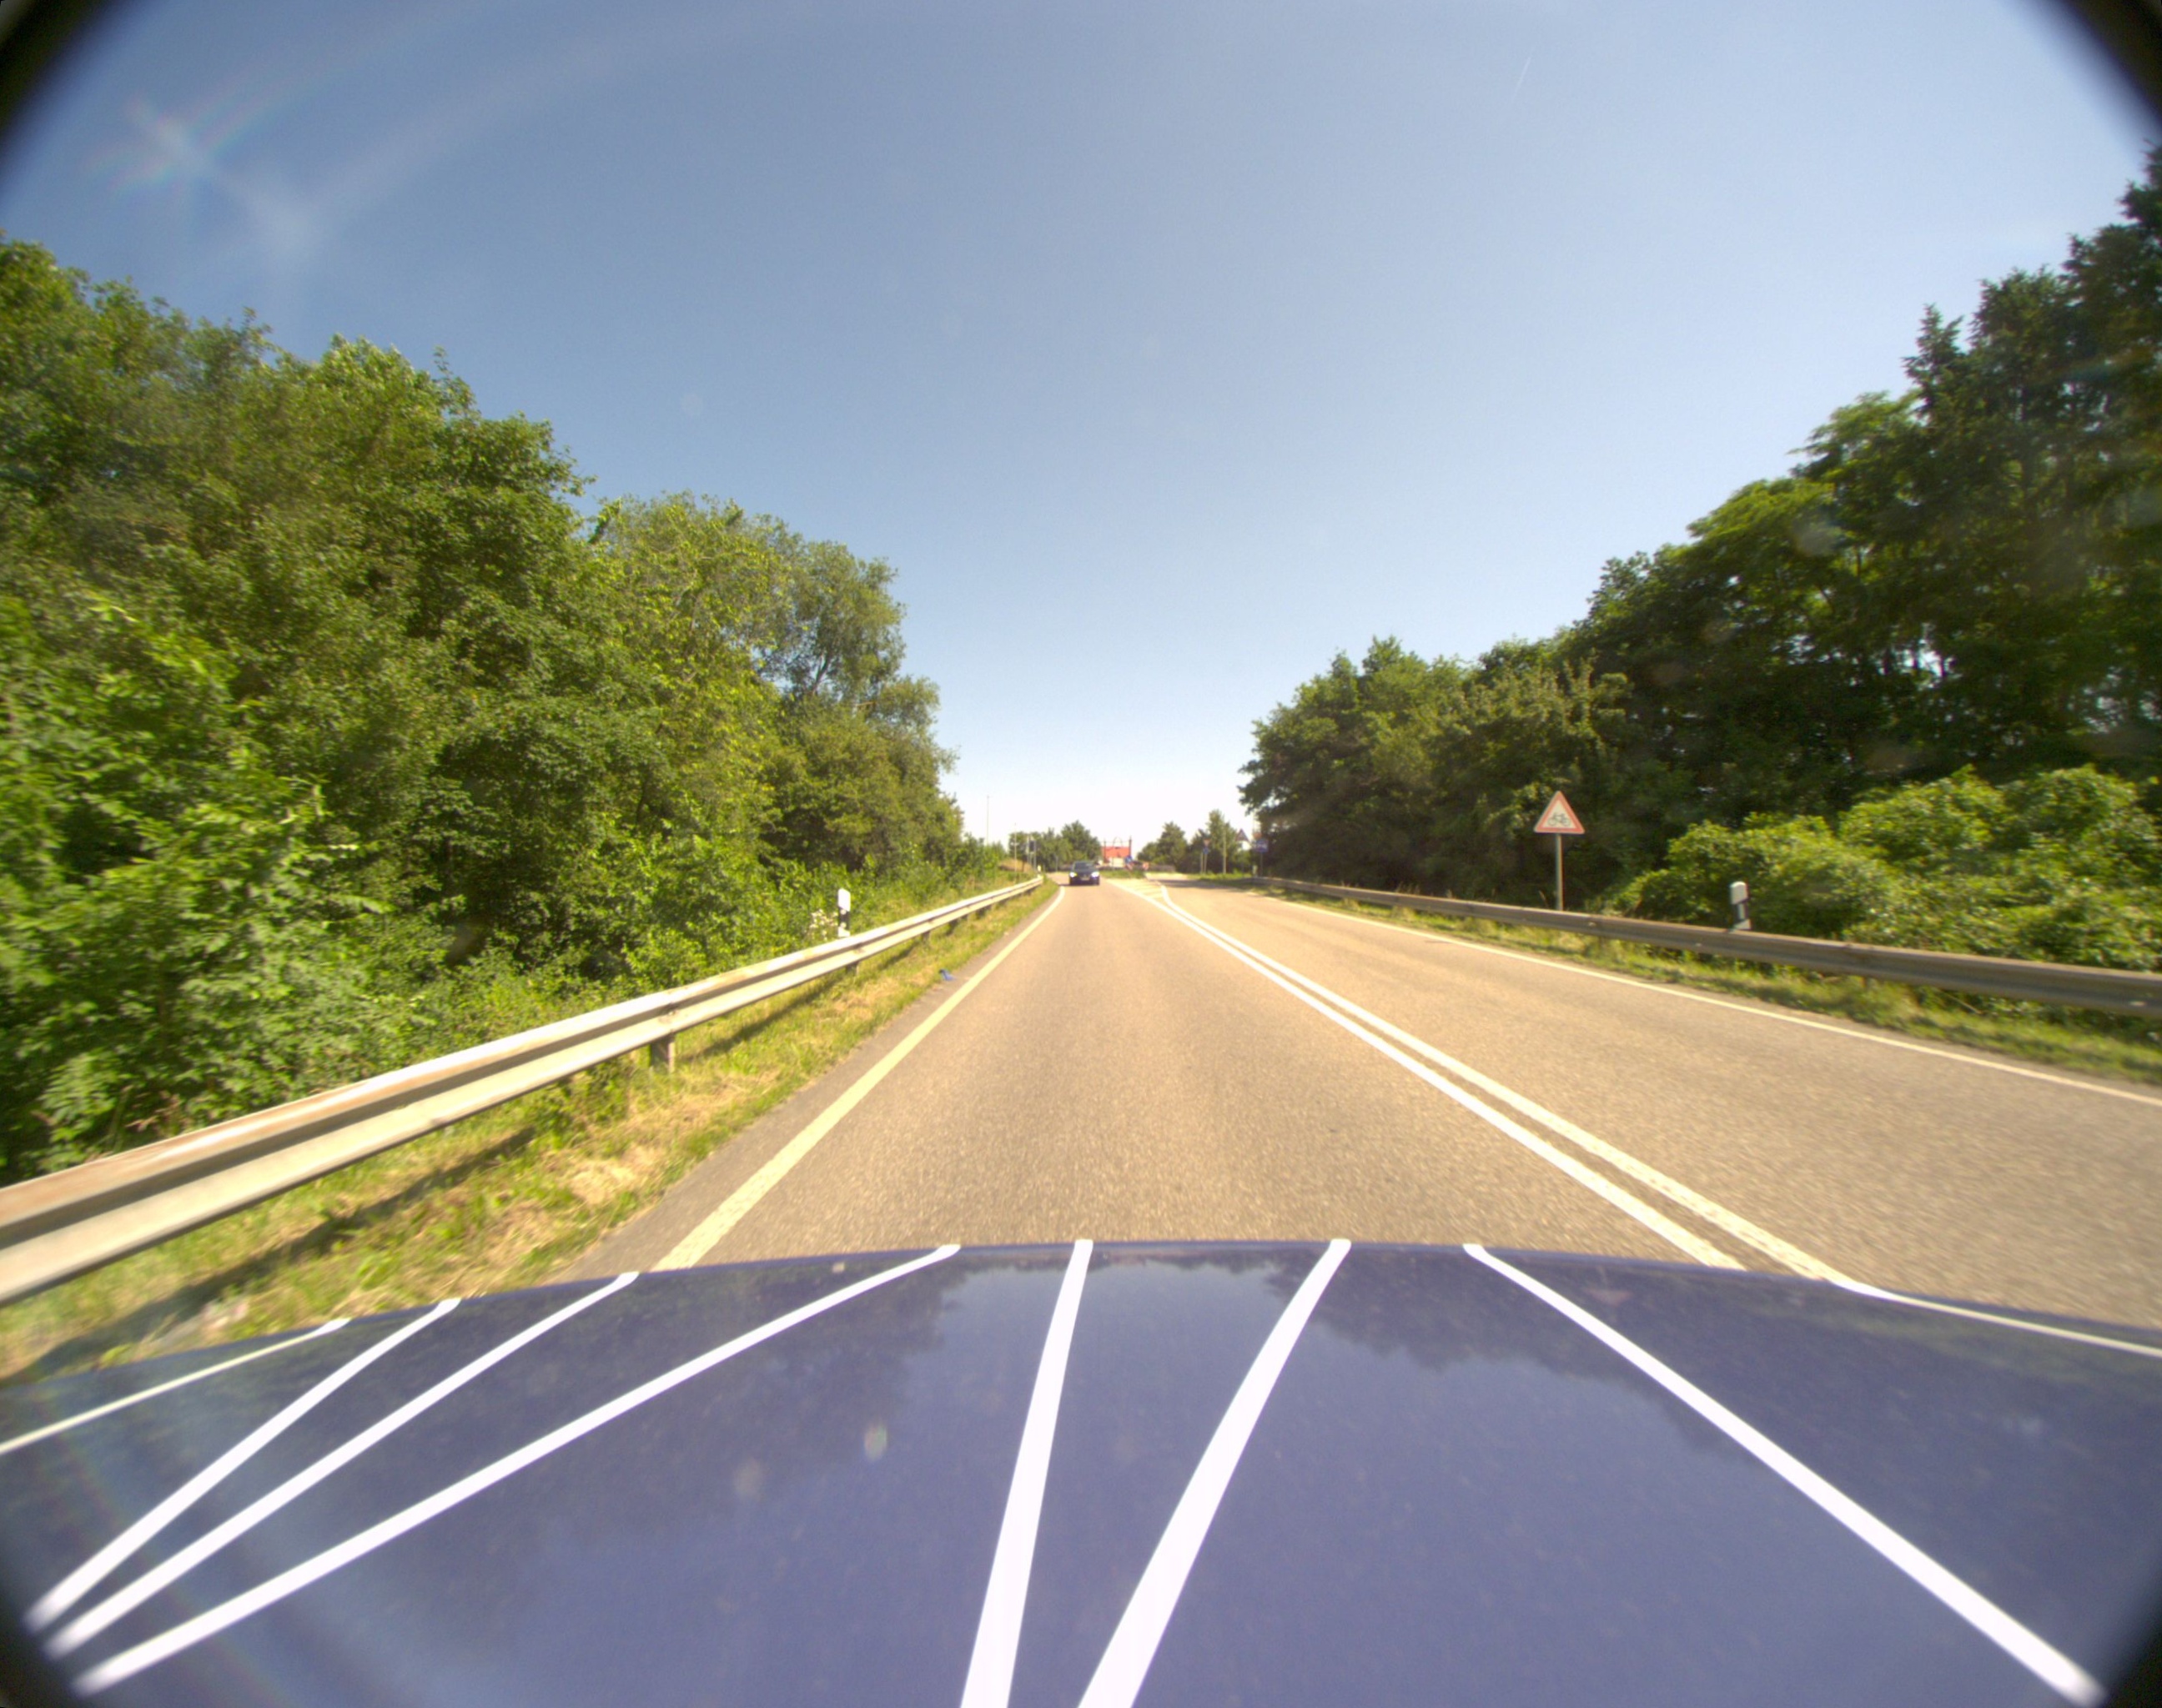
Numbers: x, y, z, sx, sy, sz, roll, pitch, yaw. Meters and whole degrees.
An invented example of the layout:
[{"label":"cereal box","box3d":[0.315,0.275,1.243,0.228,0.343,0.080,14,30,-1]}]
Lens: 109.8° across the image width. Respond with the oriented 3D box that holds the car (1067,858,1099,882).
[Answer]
[{"label":"car","box3d":[0.152,0.938,45.641,1.806,1.390,4.180,0,0,2]}]
